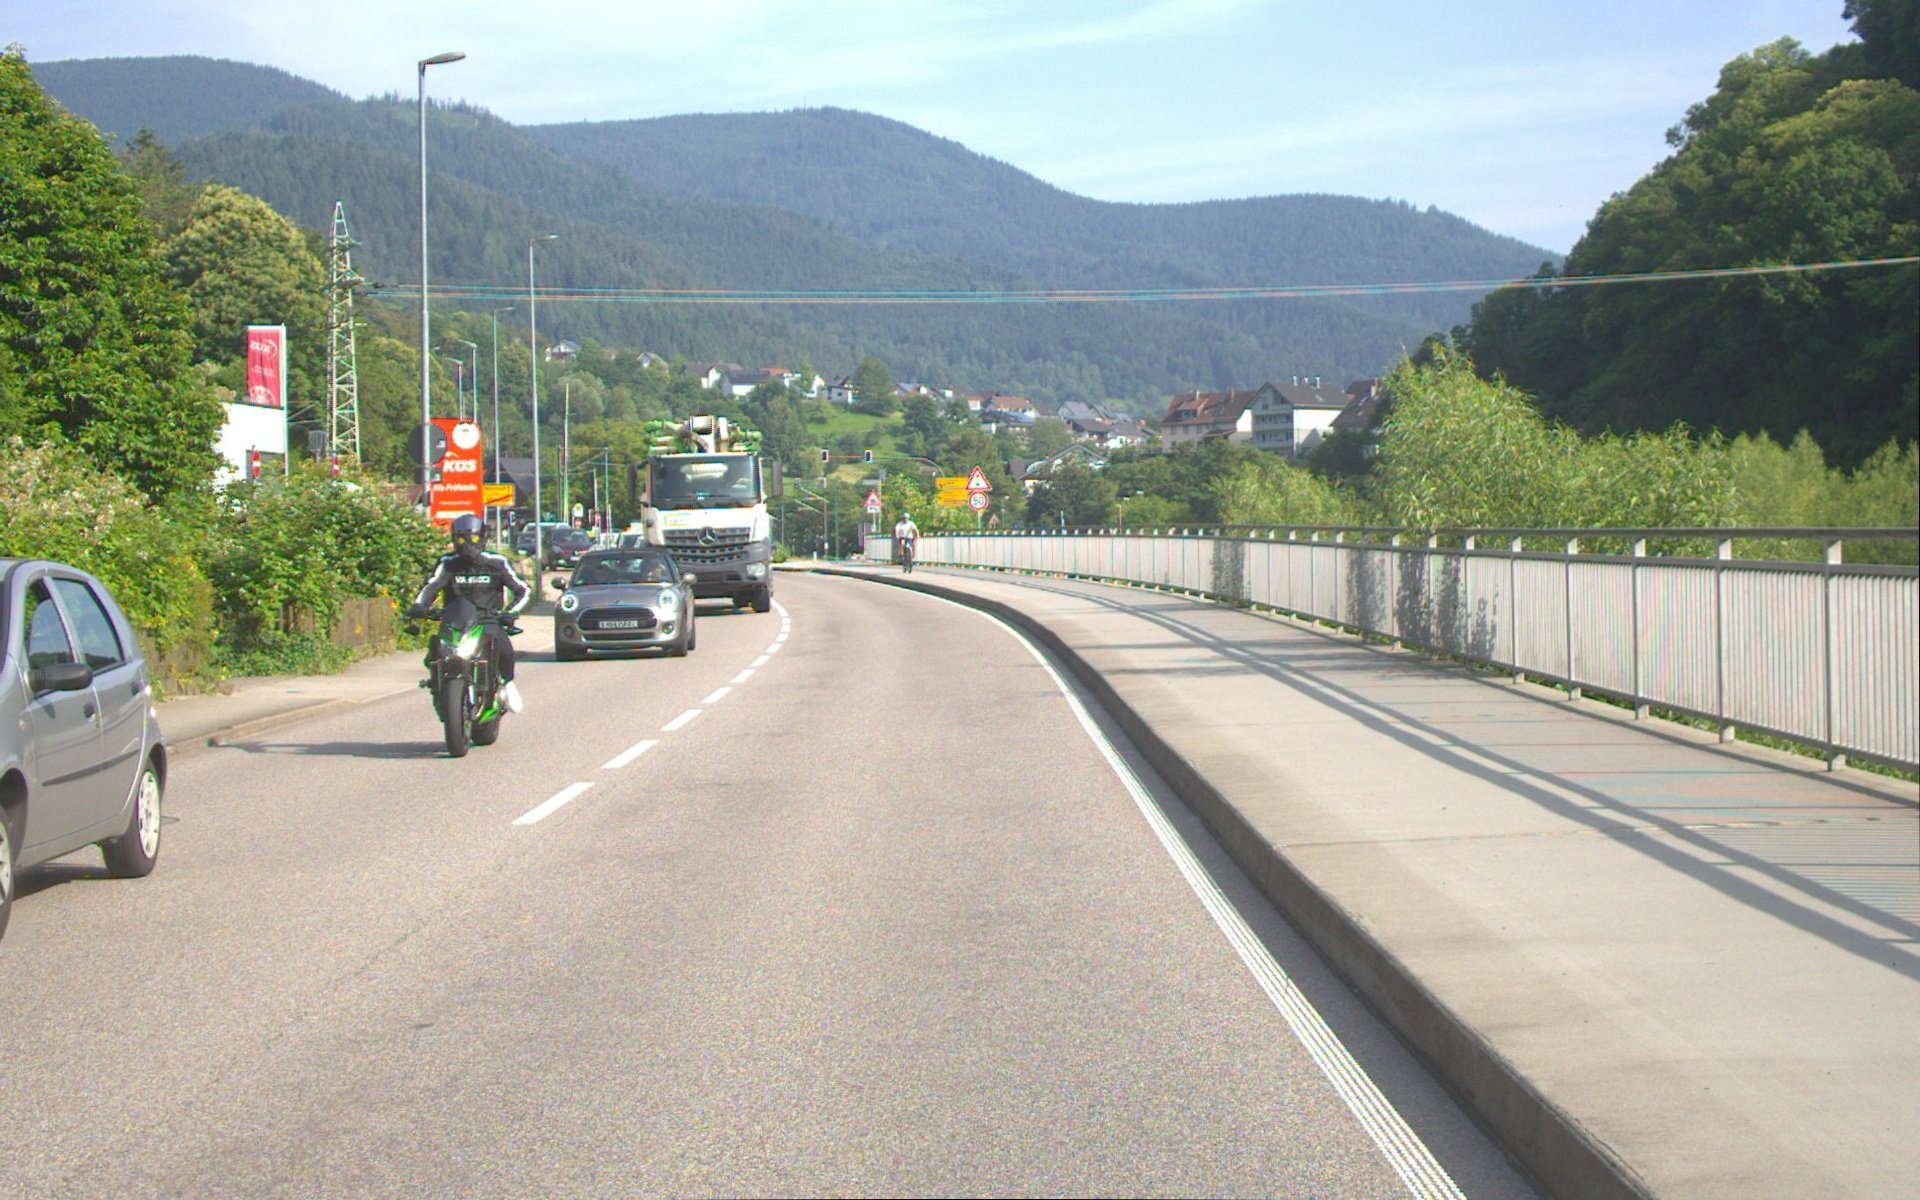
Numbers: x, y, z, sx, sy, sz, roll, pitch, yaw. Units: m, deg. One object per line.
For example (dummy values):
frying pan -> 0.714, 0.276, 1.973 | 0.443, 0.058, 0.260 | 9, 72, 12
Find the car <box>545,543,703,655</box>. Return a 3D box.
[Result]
car -> -4.401, -0.037, 45.500 | 1.713, 1.398, 4.000 | -1, 1, 0

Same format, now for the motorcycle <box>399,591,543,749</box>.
motorcycle -> -3.561, 0.490, 25.201 | 0.654, 1.064, 2.182 | -1, 1, 2

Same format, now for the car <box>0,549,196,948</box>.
car -> -4.437, 0.542, 14.395 | 1.630, 1.480, 4.000 | -1, 1, -1

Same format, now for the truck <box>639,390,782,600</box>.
truck -> -5.252, -2.085, 70.769 | 2.577, 3.918, 11.308 | -2, 1, -5

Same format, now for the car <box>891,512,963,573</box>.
car -> -0.978, -1.679, 99.646 | 1.749, 1.498, 4.191 | -9, 2, -2

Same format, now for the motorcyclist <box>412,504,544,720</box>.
motorcyclist -> -3.536, 0.087, 25.249 | 0.825, 1.553, 0.628 | -1, 0, 3
